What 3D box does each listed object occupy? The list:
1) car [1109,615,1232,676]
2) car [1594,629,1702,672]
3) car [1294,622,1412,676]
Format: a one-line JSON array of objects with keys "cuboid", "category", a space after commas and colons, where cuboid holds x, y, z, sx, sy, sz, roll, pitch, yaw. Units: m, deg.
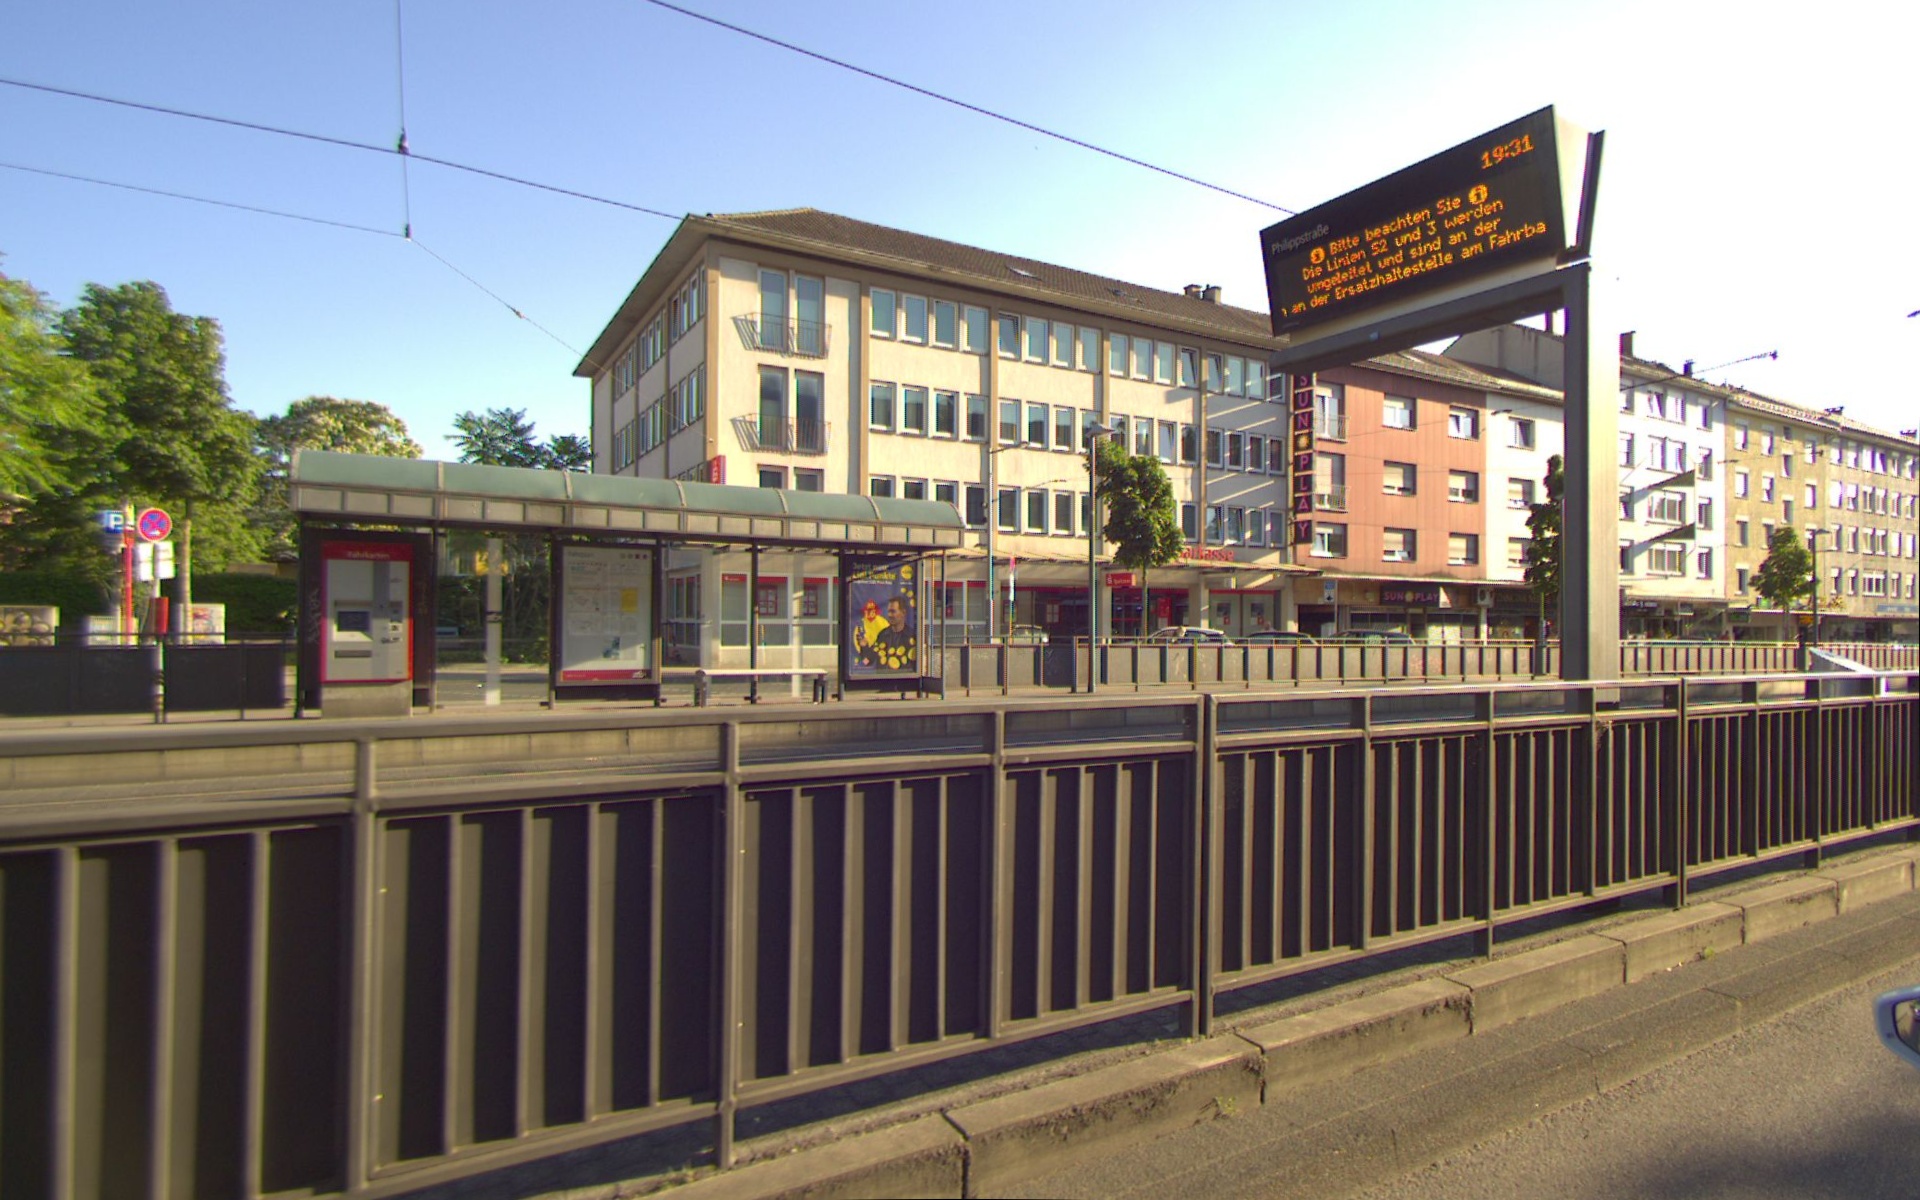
[{"cuboid": [6.164, 1.316, 29.548, 3.439, 1.702, 1.772, 0, -1, 11], "category": "car"}, {"cuboid": [30.105, 2.219, 44.036, 3.440, 1.702, 1.772, -2, -1, 15], "category": "car"}, {"cuboid": [12.927, 1.590, 33.216, 3.440, 1.702, 1.772, 0, -1, 15], "category": "car"}]
